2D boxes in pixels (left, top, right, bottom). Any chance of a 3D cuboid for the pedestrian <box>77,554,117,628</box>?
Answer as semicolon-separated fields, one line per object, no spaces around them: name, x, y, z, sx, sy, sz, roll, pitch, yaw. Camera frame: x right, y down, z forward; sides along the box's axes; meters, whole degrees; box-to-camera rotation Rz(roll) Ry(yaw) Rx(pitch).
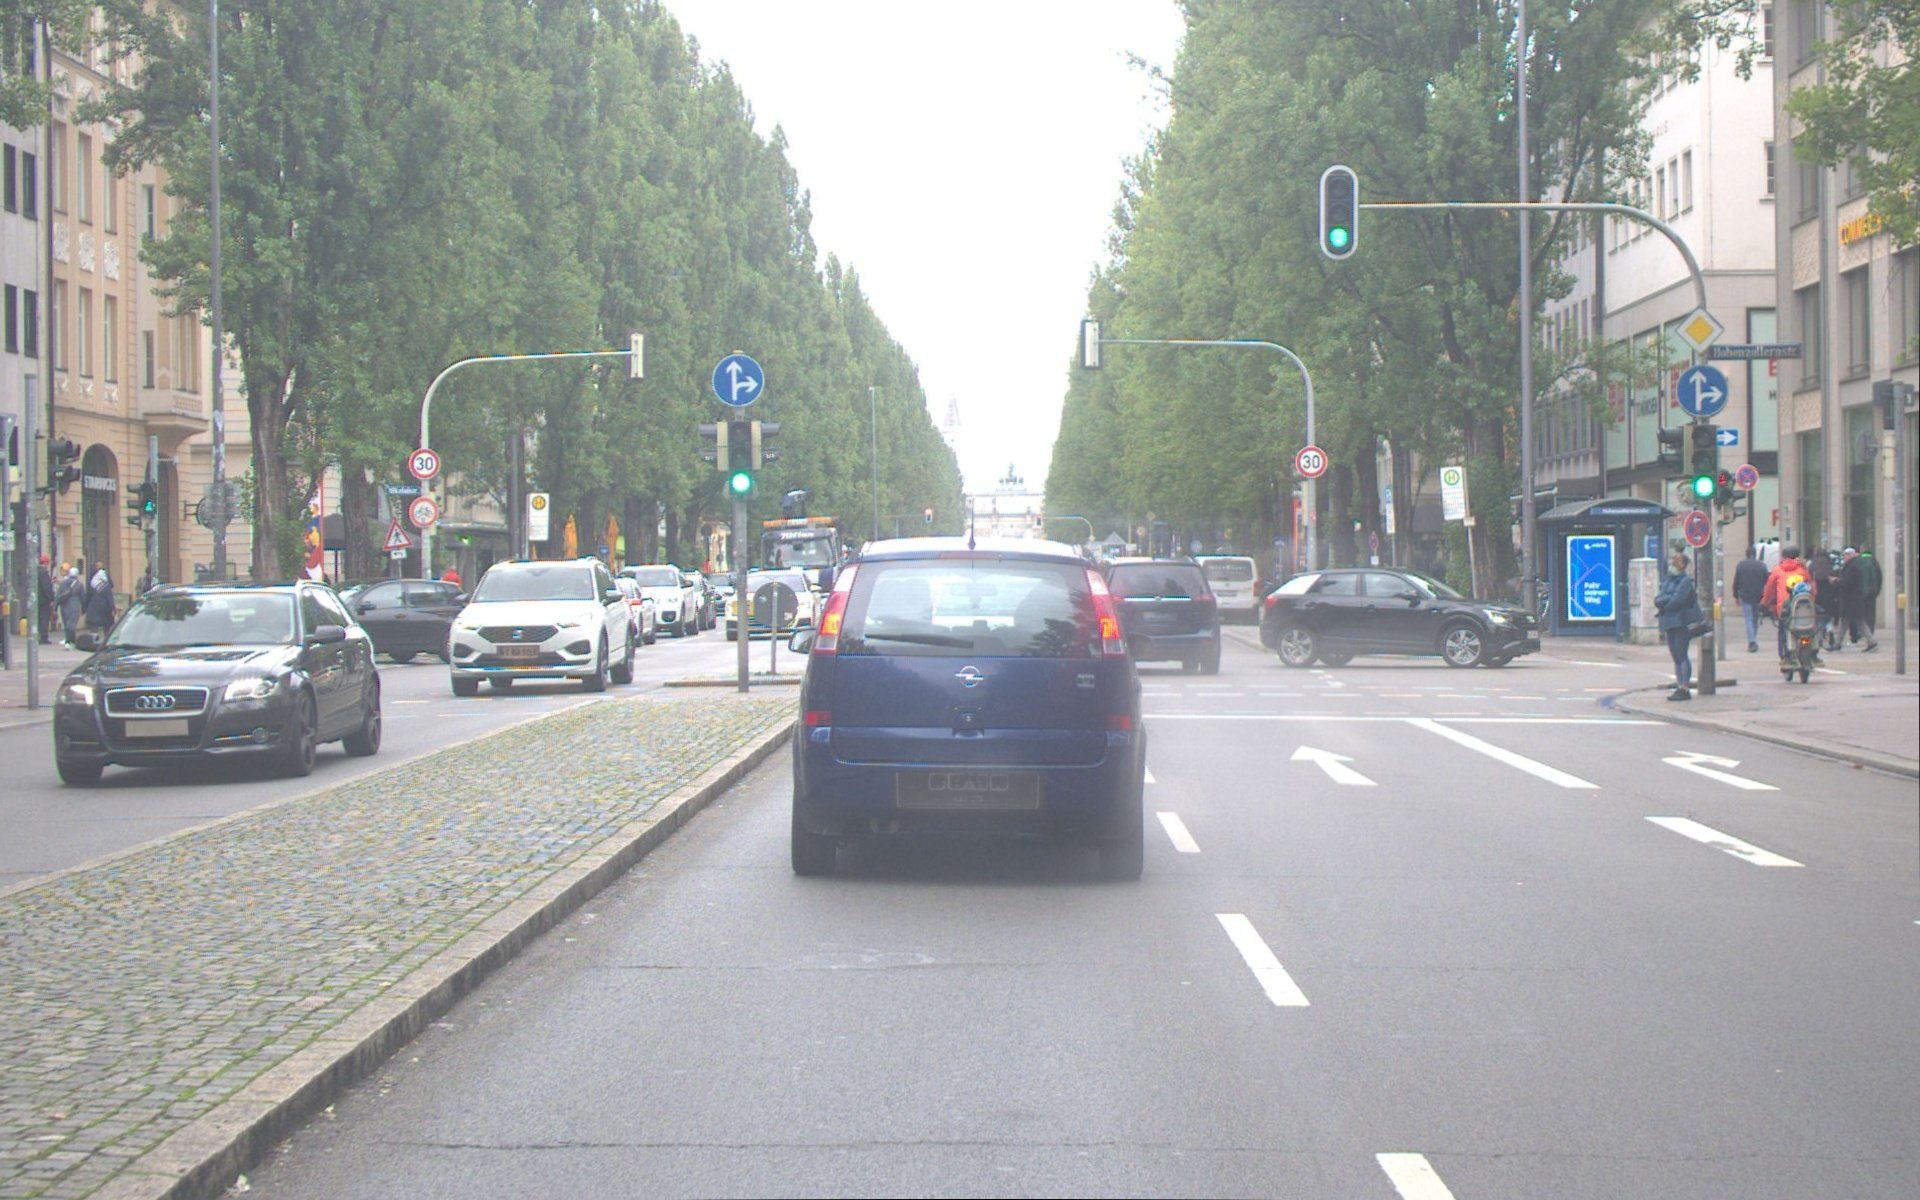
pedestrian;-20.963;-0.233;83.520;0.699;1.781;0.820;-1;1;2

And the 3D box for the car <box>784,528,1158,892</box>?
car;0.048;0.471;17.575;1.681;1.635;4.000;1;1;0

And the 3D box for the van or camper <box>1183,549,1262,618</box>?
van or camper;7.305;-0.473;96.006;1.868;1.876;4.903;0;1;1

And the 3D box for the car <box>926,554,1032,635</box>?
car;0.367;-0.130;66.945;1.993;1.492;4.000;-1;1;0

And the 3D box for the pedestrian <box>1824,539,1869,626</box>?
pedestrian;17.821;-0.358;69.133;0.750;1.752;0.711;0;0;2

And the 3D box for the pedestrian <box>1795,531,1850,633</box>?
pedestrian;15.095;-0.313;60.176;0.750;1.752;0.859;0;-1;2

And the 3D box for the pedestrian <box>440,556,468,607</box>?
pedestrian;-16.677;-0.605;113.361;0.734;1.667;0.952;-1;1;1

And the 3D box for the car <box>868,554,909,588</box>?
car;-3.599;-1.493;173.827;1.913;1.675;4.586;-1;1;1

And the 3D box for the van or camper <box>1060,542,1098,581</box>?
van or camper;8.046;-2.575;232.668;2.477;2.572;5.844;-1;1;1

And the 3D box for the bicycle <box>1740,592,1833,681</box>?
bicycle;10.485;0.451;43.672;0.627;1.083;2.264;-1;1;0

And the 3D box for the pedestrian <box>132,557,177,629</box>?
pedestrian;-18.306;-0.163;78.146;0.778;1.613;0.934;0;1;1

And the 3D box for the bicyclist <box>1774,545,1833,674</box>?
bicyclist;10.480;0.114;42.731;0.621;1.583;0.391;-1;0;0

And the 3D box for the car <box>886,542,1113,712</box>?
car;0.352;0.212;32.432;1.993;1.492;4.000;0;1;0

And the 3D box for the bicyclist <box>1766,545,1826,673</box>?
bicyclist;10.479;0.113;43.079;0.621;1.583;0.481;-1;0;0

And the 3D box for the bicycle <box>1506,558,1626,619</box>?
bicycle;12.457;-0.234;70.688;2.343;1.248;0.633;0;1;1

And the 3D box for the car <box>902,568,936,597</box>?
car;-2.490;-1.075;208.594;1.935;1.618;4.336;-2;1;1

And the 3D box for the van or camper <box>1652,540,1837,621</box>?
van or camper;18.891;-0.474;82.926;4.105;1.860;1.898;1;0;5

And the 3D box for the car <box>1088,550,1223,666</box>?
car;2.726;0.087;48.652;1.706;1.568;4.000;0;1;0

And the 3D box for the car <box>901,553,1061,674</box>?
car;0.265;0.147;44.957;1.993;1.492;4.000;-1;1;0

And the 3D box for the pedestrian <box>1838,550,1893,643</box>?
pedestrian;16.450;-0.071;62.467;0.750;1.671;0.963;-1;1;2

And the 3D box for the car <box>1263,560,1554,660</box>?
car;6.752;0.140;51.819;3.993;1.456;1.757;0;1;28

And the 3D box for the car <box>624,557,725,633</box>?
car;-6.687;-0.135;80.919;1.837;1.710;4.635;-1;1;1

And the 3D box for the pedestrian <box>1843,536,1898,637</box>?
pedestrian;15.886;-0.241;59.993;0.750;1.752;0.859;-1;1;2

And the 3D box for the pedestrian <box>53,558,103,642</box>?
pedestrian;-18.053;-0.004;70.377;0.732;1.676;0.977;1;1;1

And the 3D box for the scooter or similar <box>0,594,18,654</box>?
scooter or similar;-17.675;0.437;62.834;0.813;1.089;0.274;1;0;-3

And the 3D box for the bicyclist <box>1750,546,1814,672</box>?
bicyclist;10.482;0.110;43.859;0.621;1.583;0.753;-1;0;0

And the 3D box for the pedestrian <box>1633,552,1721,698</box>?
pedestrian;7.999;0.270;38.371;0.765;1.604;0.864;0;1;-3

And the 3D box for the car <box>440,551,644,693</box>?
car;-5.179;0.233;43.139;1.844;1.630;4.575;-2;1;2

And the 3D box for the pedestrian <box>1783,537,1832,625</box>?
pedestrian;17.016;-0.386;69.031;0.750;1.752;1.017;-1;1;2

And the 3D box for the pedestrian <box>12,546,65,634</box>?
pedestrian;-18.849;-0.208;70.321;0.800;1.781;0.912;1;1;1

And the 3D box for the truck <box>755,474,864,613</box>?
truck;-4.089;-1.542;94.823;2.463;3.657;8.439;0;1;1

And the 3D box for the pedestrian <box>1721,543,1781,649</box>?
pedestrian;13.631;-0.073;59.277;0.818;1.811;0.890;0;0;0

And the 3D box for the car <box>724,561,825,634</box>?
car;-4.011;-0.079;75.139;1.843;1.496;4.986;-1;1;1

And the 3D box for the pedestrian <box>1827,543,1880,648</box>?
pedestrian;15.136;-0.081;58.225;0.708;1.752;0.752;-1;1;2

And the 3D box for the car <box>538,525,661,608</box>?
car;-6.484;-0.599;62.104;1.736;1.432;3.823;-1;0;1

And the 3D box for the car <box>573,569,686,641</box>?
car;-6.826;0.079;71.473;1.823;1.403;4.632;-1;0;1

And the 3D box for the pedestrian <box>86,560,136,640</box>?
pedestrian;-16.750;-0.013;67.842;0.750;1.562;0.989;-1;1;-1

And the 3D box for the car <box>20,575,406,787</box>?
car;-5.442;0.542;25.580;1.836;1.356;4.176;-2;1;1
